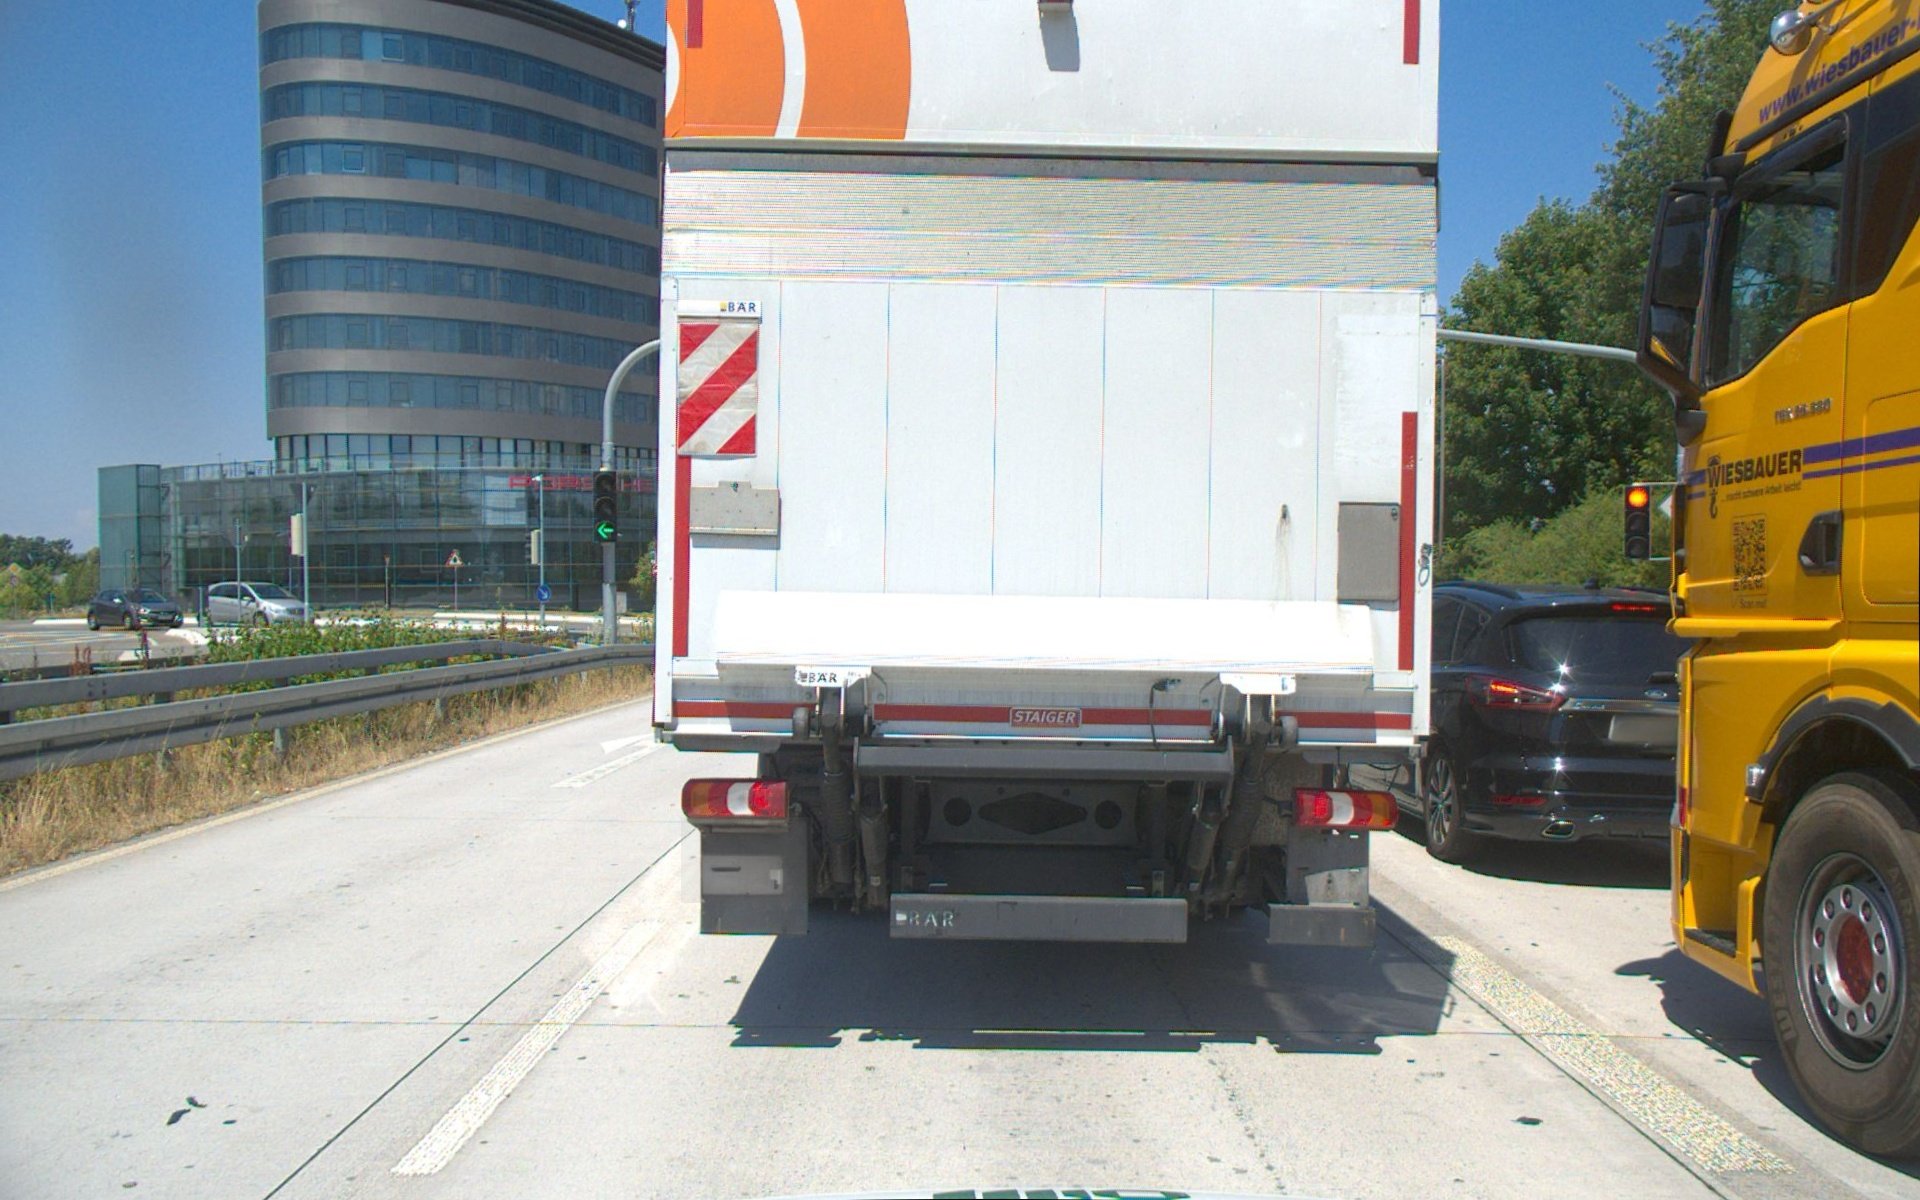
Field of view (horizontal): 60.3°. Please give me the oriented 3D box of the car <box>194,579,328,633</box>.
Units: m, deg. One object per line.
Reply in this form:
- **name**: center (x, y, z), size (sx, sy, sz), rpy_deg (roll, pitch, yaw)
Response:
- **car**: center (-22.627, 0.228, 53.503), size (4.233, 1.623, 1.774), rpy_deg (-2, -2, 29)

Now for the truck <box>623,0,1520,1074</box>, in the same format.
- **truck**: center (0.270, -0.506, 9.738), size (2.713, 3.927, 9.368), rpy_deg (1, 0, -1)

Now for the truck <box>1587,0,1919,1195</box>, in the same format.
- **truck**: center (3.953, -0.415, 2.457), size (2.953, 3.838, 7.466), rpy_deg (1, 0, -2)

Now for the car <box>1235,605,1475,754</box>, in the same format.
- **car**: center (4.283, 0.797, 18.625), size (1.731, 1.435, 4.611), rpy_deg (1, 0, 2)

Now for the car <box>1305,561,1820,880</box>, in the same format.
- **car**: center (3.690, 0.651, 11.121), size (1.747, 1.668, 4.647), rpy_deg (1, 0, 0)

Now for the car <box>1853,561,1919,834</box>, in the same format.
- **car**: center (7.451, 0.664, 9.555), size (1.733, 1.839, 4.788), rpy_deg (1, 0, -4)

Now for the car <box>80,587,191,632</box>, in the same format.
- **car**: center (-28.825, 0.360, 57.821), size (4.241, 1.482, 1.691), rpy_deg (-2, -2, 35)
